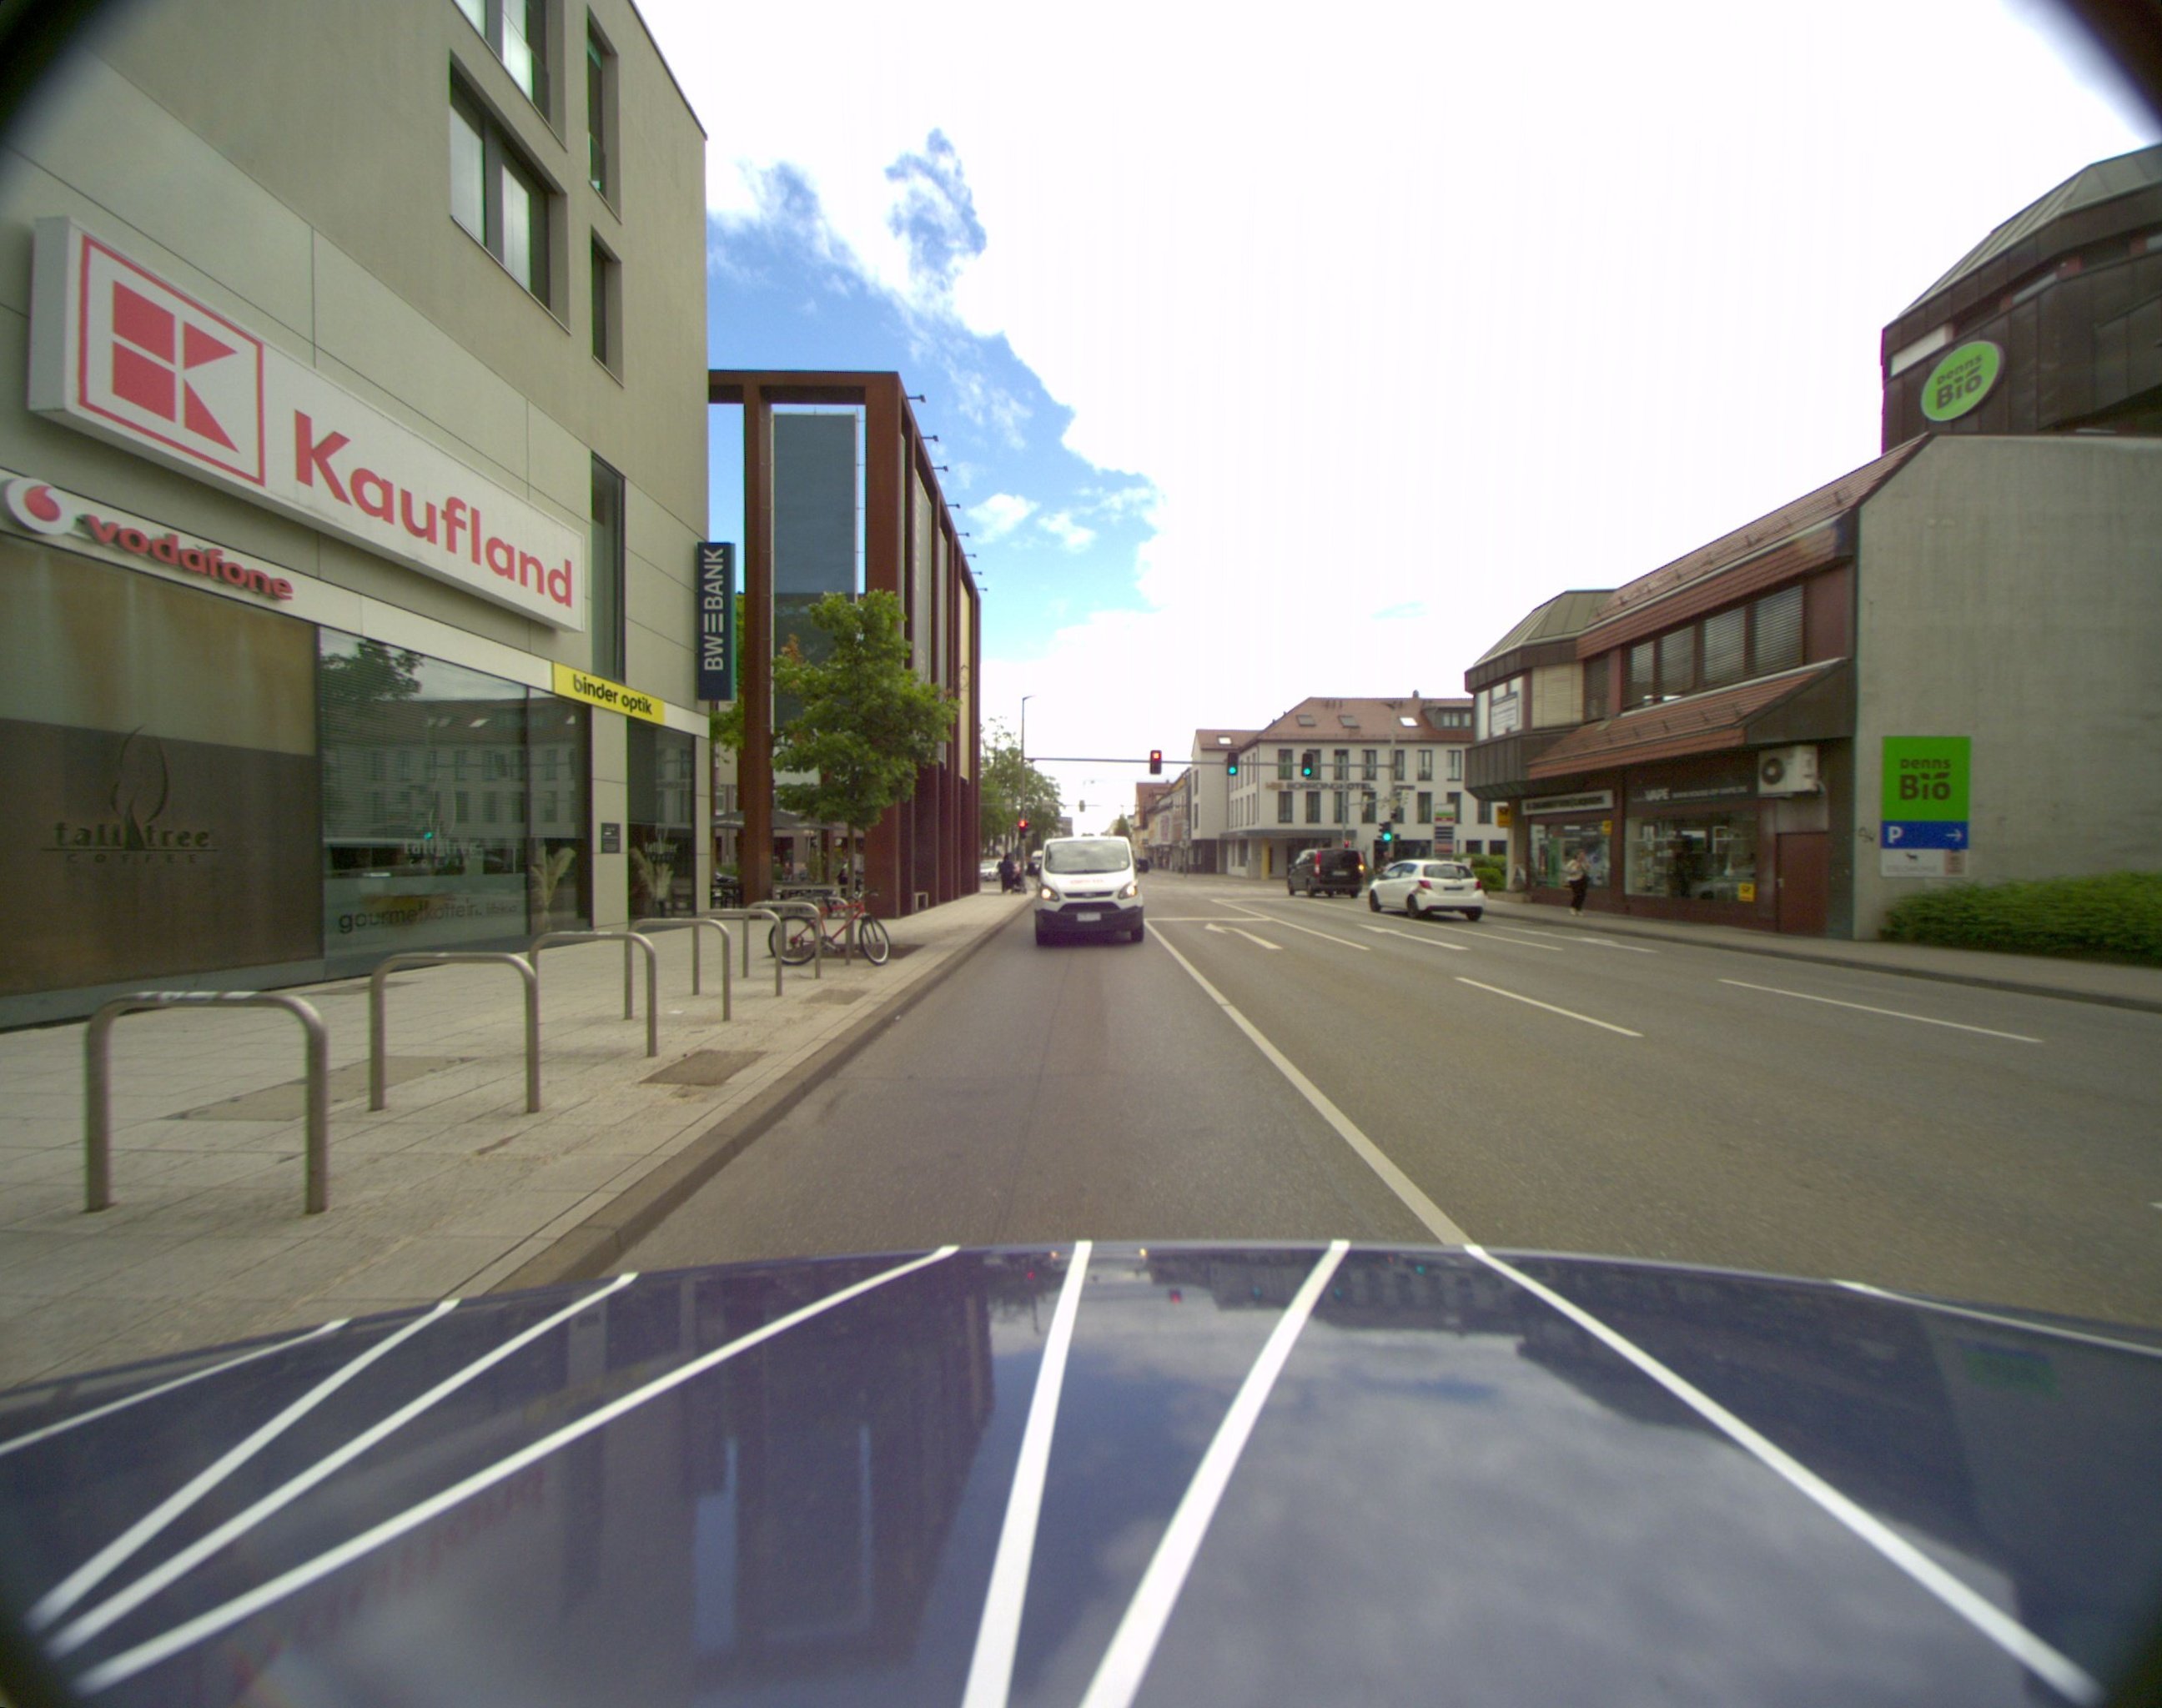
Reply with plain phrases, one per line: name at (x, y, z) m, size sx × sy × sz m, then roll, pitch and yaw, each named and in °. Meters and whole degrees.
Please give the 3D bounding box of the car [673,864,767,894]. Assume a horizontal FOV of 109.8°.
car at (-19.343, 1.329, 40.850) m, size 4.184 × 1.396 × 1.800 m, roll -2°, pitch 0°, yaw -2°

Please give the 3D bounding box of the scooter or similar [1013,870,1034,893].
scooter or similar at (-2.411, 1.158, 32.004) m, size 0.633 × 0.956 × 0.622 m, roll 0°, pitch 1°, yaw 34°

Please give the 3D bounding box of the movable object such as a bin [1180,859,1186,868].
movable object such as a bin at (10.605, 0.969, 78.988) m, size 0.552 × 0.894 × 0.507 m, roll -1°, pitch 1°, yaw -1°

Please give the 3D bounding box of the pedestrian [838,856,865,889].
pedestrian at (-12.421, 0.983, 41.124) m, size 1.058 × 1.705 × 1.110 m, roll -2°, pitch 1°, yaw -1°

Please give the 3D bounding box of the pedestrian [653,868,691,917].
pedestrian at (-10.318, 0.968, 19.193) m, size 0.516 × 1.201 × 0.795 m, roll -1°, pitch 0°, yaw -2°

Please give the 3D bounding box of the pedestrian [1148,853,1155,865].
pedestrian at (9.257, 0.699, 100.344) m, size 0.812 × 1.574 × 0.920 m, roll -1°, pitch 1°, yaw 1°

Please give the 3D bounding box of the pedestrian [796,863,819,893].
pedestrian at (-14.590, 1.248, 40.521) m, size 0.832 × 1.549 × 0.969 m, roll -1°, pitch 1°, yaw -1°

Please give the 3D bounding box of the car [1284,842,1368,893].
car at (9.746, 0.491, 30.658) m, size 1.870 × 1.898 × 5.114 m, roll 0°, pitch 0°, yaw 2°

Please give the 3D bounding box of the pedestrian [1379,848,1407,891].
pedestrian at (13.375, 0.665, 32.574) m, size 0.812 × 1.797 × 0.745 m, roll -1°, pitch 1°, yaw -8°

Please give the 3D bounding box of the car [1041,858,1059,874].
car at (-3.132, 1.194, 77.021) m, size 1.630 × 1.440 × 3.642 m, roll -3°, pitch 0°, yaw 0°

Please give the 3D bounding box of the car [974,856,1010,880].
car at (-6.792, 1.048, 58.265) m, size 1.743 × 1.691 × 4.382 m, roll -2°, pitch 0°, yaw 6°

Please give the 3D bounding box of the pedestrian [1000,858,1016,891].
pedestrian at (-3.144, 0.894, 32.781) m, size 0.602 × 1.412 × 0.582 m, roll -1°, pitch 0°, yaw 3°

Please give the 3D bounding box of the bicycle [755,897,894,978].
bicycle at (-3.355, 1.087, 10.033) m, size 1.564 × 0.986 × 0.752 m, roll 0°, pitch 1°, yaw 4°

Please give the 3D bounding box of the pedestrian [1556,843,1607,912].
pedestrian at (12.545, 0.580, 19.046) m, size 0.751 × 1.683 × 0.777 m, roll -1°, pitch 1°, yaw -4°

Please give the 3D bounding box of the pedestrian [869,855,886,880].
pedestrian at (-13.383, 0.895, 49.954) m, size 0.810 × 1.617 × 1.093 m, roll 0°, pitch 1°, yaw 0°

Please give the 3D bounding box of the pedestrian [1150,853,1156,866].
pedestrian at (9.931, 0.787, 105.060) m, size 0.708 × 1.771 × 0.870 m, roll -1°, pitch 1°, yaw 2°

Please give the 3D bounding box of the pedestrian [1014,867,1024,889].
pedestrian at (-2.657, 1.036, 32.801) m, size 0.362 × 0.918 × 0.454 m, roll -1°, pitch 0°, yaw 3°

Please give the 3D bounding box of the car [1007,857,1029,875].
car at (-5.748, 1.092, 69.801) m, size 1.630 × 1.440 × 3.642 m, roll -3°, pitch 0°, yaw 0°

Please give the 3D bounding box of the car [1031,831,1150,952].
car at (0.184, 0.627, 15.840) m, size 1.940 × 1.968 × 5.779 m, roll -3°, pitch 0°, yaw 0°

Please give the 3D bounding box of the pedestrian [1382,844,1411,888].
pedestrian at (13.142, 0.503, 31.697) m, size 0.812 × 1.797 × 0.774 m, roll -1°, pitch 1°, yaw -8°

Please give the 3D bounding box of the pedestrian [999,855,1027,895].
pedestrian at (-2.814, 0.849, 31.462) m, size 0.870 × 1.637 × 0.681 m, roll -1°, pitch 1°, yaw 35°

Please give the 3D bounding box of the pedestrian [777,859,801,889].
pedestrian at (-15.525, 1.047, 40.477) m, size 0.832 × 1.575 × 1.059 m, roll -1°, pitch 1°, yaw 1°

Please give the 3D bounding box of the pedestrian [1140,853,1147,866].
pedestrian at (8.243, 0.706, 100.432) m, size 0.812 × 1.651 × 0.920 m, roll -1°, pitch 1°, yaw 1°

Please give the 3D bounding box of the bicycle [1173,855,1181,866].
bicycle at (10.485, 0.710, 83.074) m, size 0.573 × 1.094 × 1.902 m, roll -1°, pitch 0°, yaw 1°

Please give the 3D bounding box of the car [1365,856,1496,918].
car at (9.106, 0.798, 20.185) m, size 1.664 × 1.457 × 4.000 m, roll 0°, pitch 0°, yaw 1°

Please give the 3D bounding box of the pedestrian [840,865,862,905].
pedestrian at (-7.142, 0.954, 23.600) m, size 0.448 × 1.213 × 0.607 m, roll -1°, pitch 1°, yaw 4°

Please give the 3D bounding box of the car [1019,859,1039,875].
car at (-5.263, 1.293, 76.870) m, size 1.802 × 1.521 × 3.999 m, roll -3°, pitch 0°, yaw -1°
